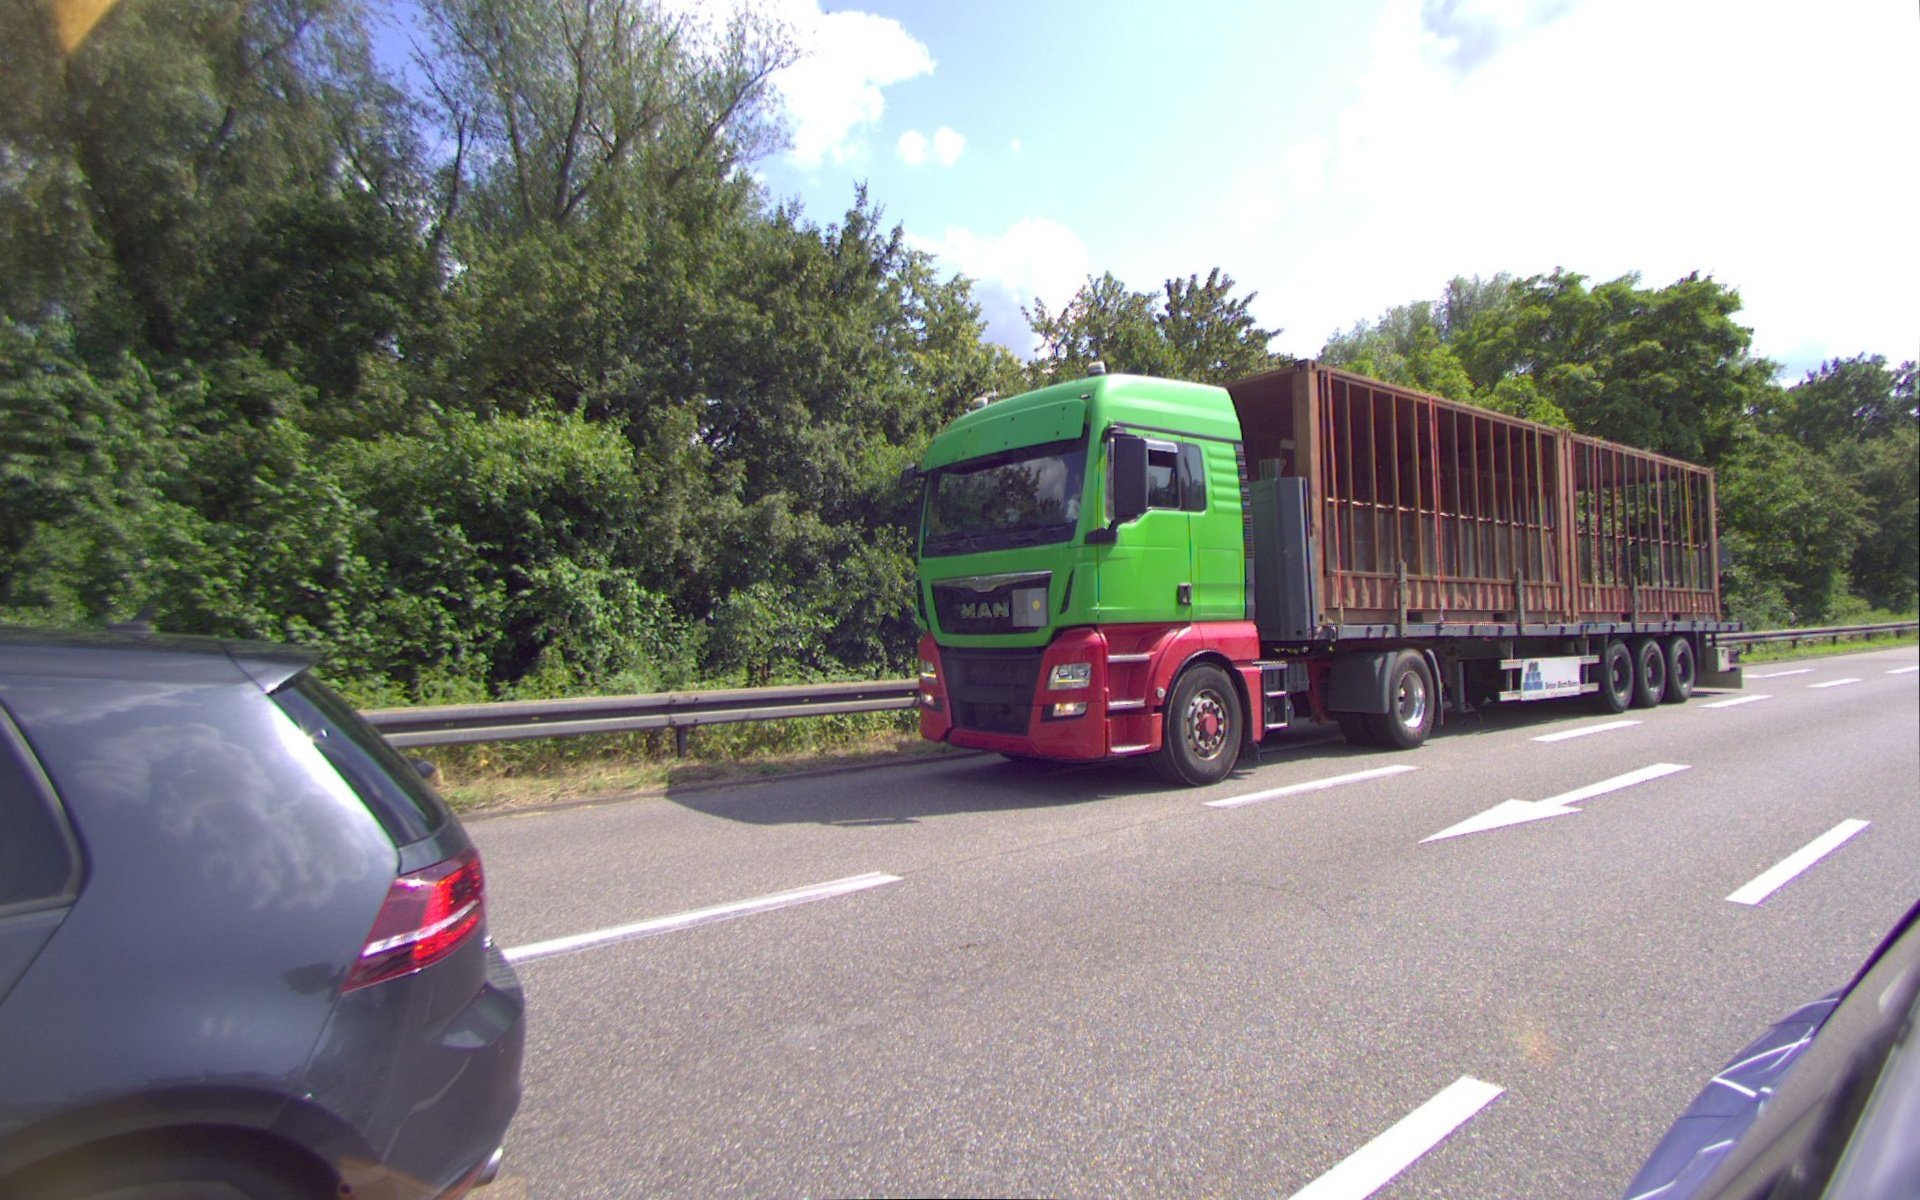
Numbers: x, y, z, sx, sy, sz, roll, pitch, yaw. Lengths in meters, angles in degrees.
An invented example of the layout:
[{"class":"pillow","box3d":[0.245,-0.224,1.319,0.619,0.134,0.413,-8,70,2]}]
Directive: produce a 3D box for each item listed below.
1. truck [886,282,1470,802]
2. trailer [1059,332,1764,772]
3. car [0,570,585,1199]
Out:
[{"class":"truck","box3d":[2.462,-0.408,10.499,5.949,3.945,2.591,0,-3,-37]},{"class":"trailer","box3d":[7.559,-0.392,14.428,14.233,3.944,2.591,0,-3,-38]},{"class":"car","box3d":[-2.790,0.715,1.337,3.975,1.495,1.734,0,-1,-40]}]
